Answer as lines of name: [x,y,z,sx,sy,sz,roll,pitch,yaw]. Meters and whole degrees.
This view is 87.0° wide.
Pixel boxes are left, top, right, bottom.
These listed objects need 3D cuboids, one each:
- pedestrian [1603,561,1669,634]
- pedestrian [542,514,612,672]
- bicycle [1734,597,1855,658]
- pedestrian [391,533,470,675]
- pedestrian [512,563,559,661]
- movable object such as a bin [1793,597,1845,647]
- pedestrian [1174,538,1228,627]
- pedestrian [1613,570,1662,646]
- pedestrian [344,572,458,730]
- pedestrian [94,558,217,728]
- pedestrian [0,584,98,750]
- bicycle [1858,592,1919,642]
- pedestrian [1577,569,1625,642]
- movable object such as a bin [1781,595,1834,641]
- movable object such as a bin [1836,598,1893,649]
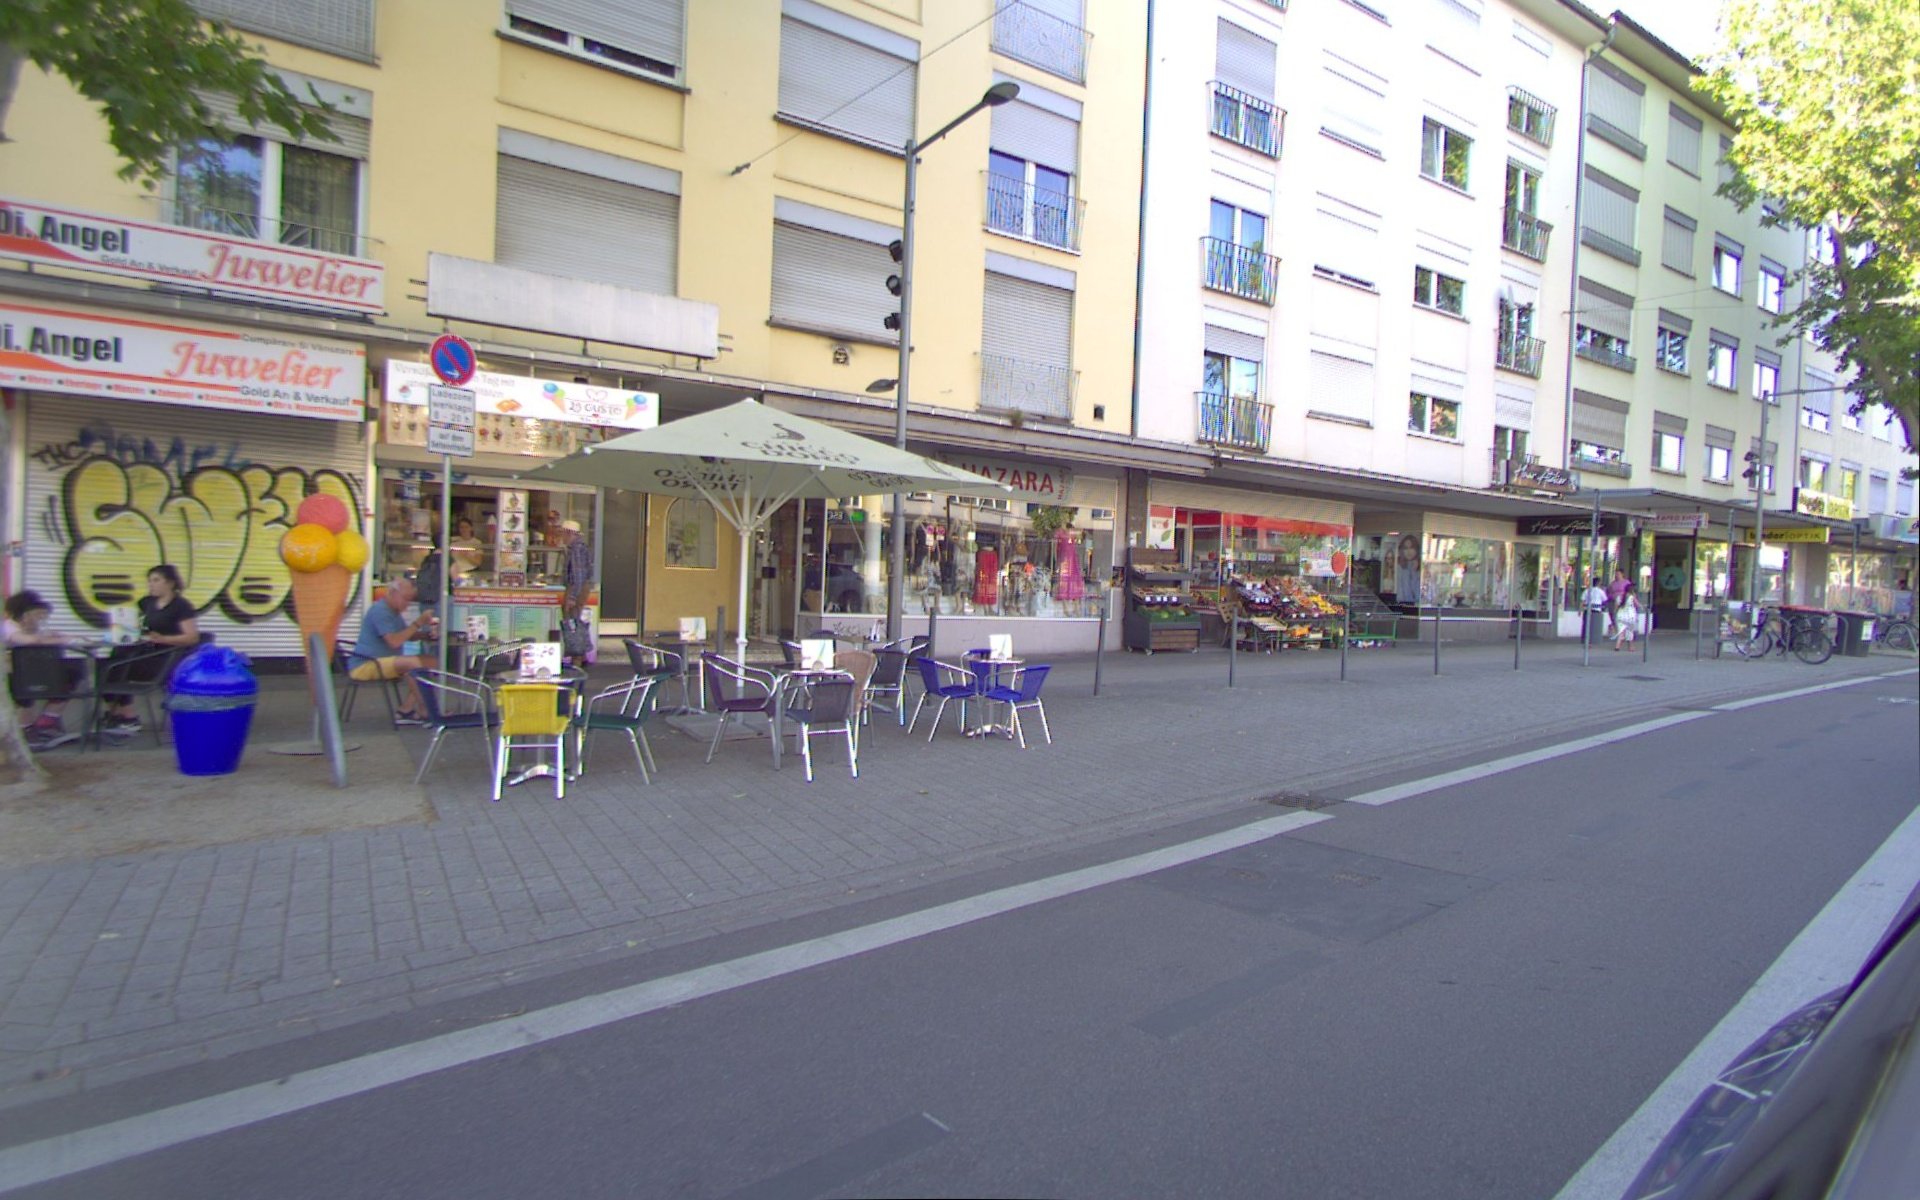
pedestrian: [17.171,-0.082,25.717,1.111,1.784,0.972,0,3,-32]
pedestrian: [-4.579,-0.093,12.126,0.614,1.826,0.638,1,1,-4]
bicycle: [17.934,0.570,21.804,0.507,1.118,1.918,1,4,-26]
pedestrian: [-6.037,0.030,11.571,0.624,1.564,0.628,1,5,-9]
pedestrian: [-5.854,0.161,13.947,0.498,1.312,0.427,0,2,-36]
movable object such as a bin: [20.707,0.520,24.396,0.632,1.084,0.725,0,7,-35]
pedestrian: [4.919,-0.351,20.658,0.864,1.766,0.686,0,0,-37]
pedestrian: [15.017,0.167,22.438,0.615,1.605,0.638,0,4,-34]
pedestrian: [-4.672,0.398,8.453,0.732,1.240,0.607,0,1,-40]
pedestrian: [-6.454,0.321,8.132,0.745,1.291,0.584,0,0,-40]
pedestrian: [-6.630,0.454,7.199,0.737,1.129,0.584,0,0,-40]
bicycle: [23.387,0.412,24.936,0.731,1.130,1.725,-4,4,-32]
pedestrian: [14.480,0.115,22.875,0.615,1.605,0.624,0,4,-34]
movable object such as a bin: [21.138,0.440,25.264,0.630,1.085,0.726,1,3,-15]
movable object such as a bin: [21.319,0.536,23.852,0.631,1.115,0.726,0,6,-26]
